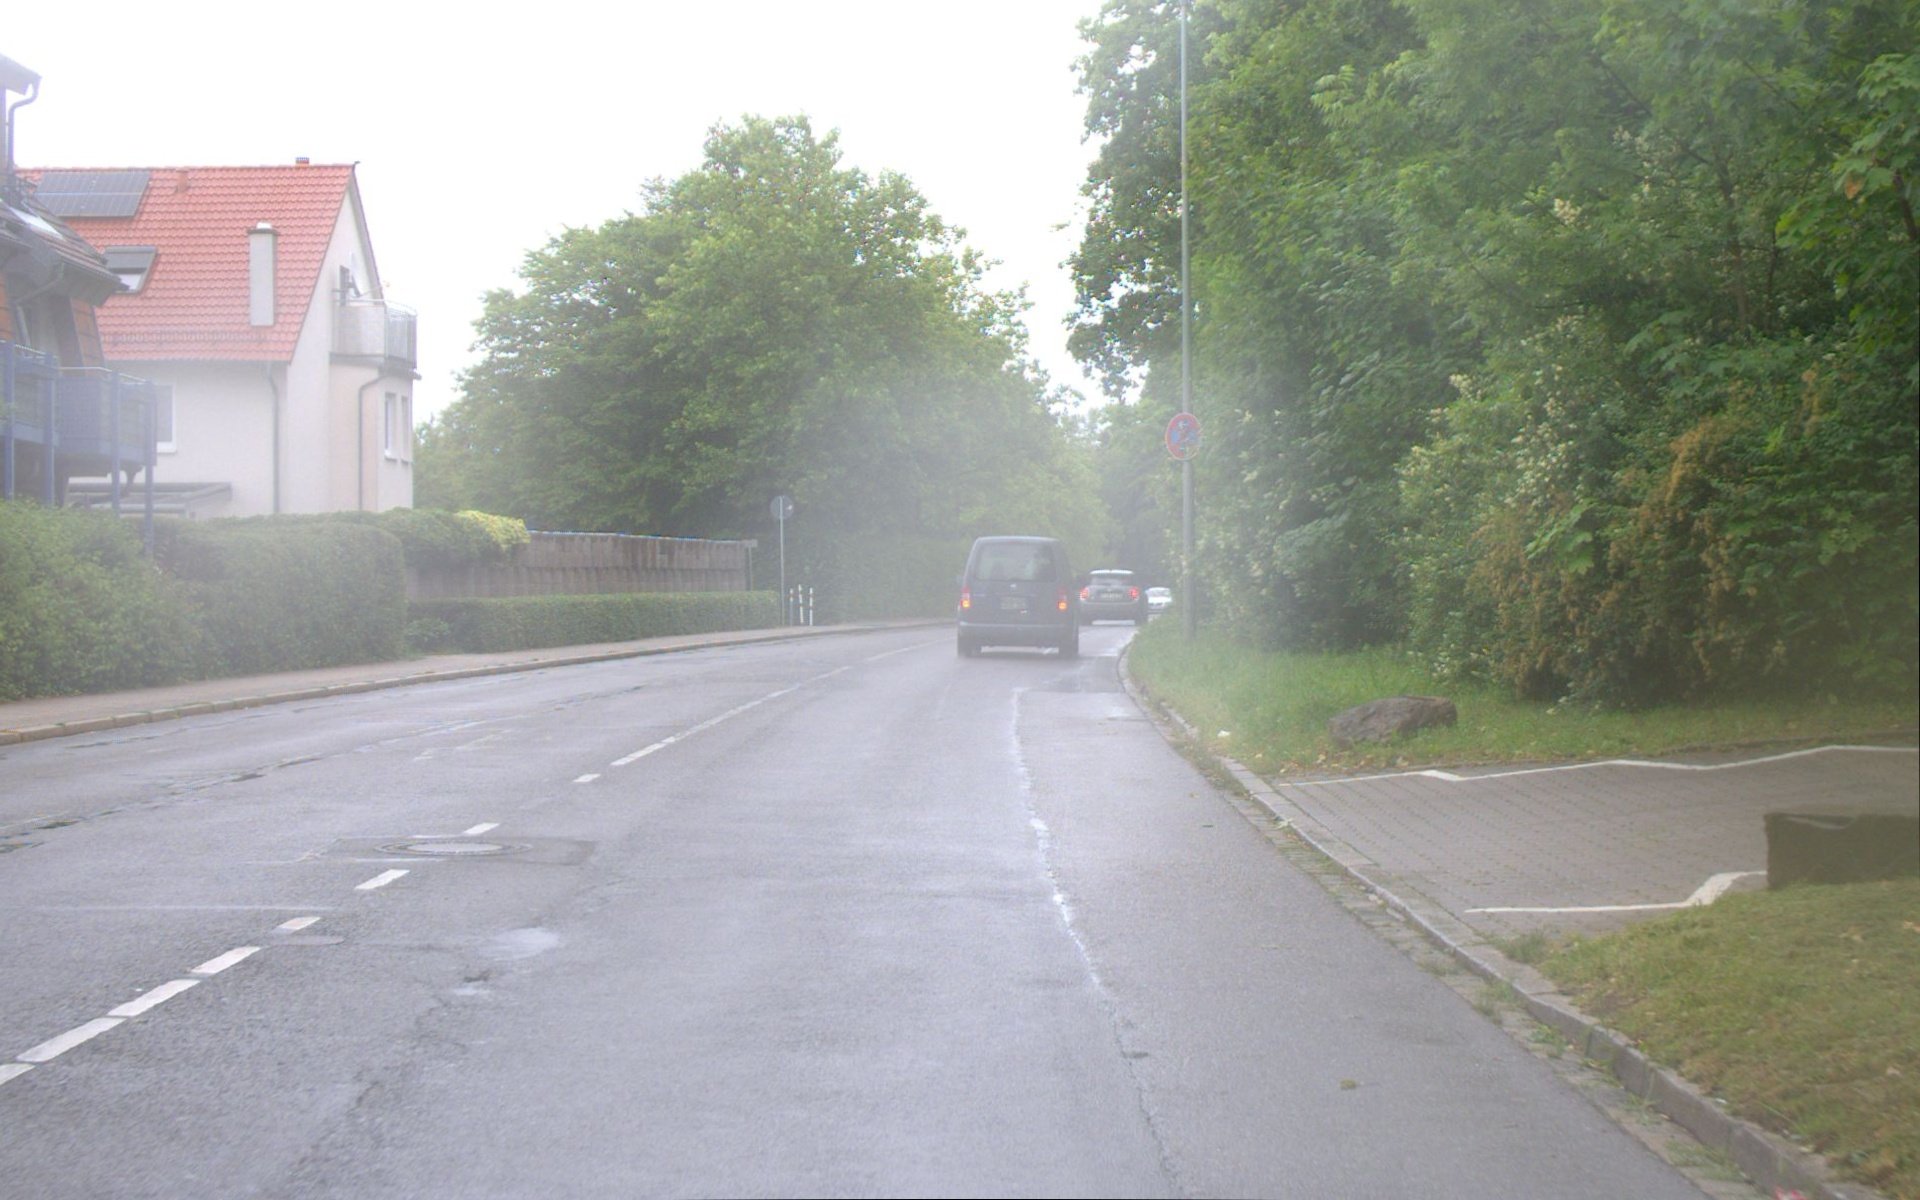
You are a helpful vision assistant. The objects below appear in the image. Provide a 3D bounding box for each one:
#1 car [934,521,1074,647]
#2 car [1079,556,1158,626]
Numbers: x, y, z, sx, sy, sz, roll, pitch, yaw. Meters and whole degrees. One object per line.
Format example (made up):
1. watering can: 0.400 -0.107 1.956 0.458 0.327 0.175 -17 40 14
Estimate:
1. car: 0.703 -0.277 52.800 1.993 1.787 4.000 2 1 1
2. car: 4.183 -0.249 90.116 1.950 1.744 4.000 0 1 4
